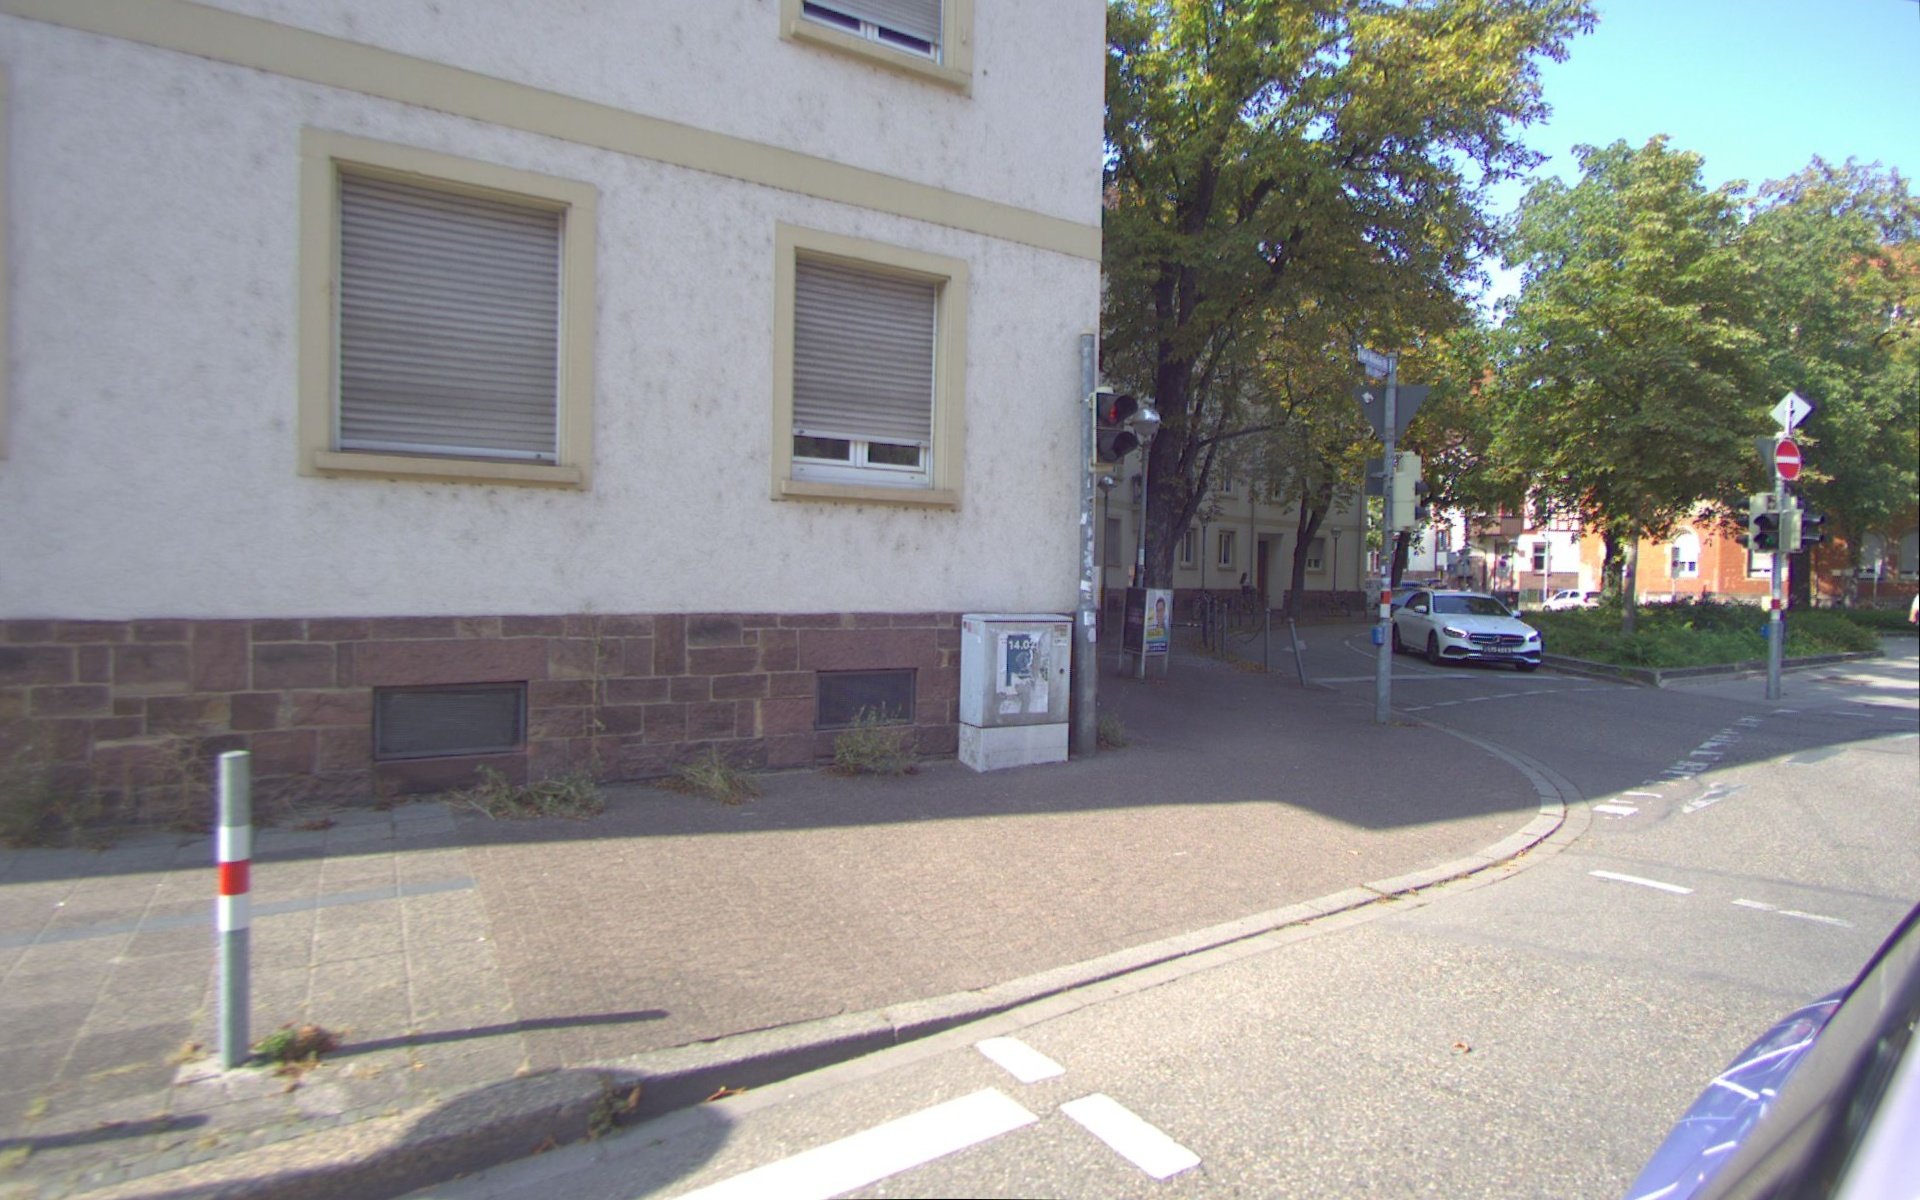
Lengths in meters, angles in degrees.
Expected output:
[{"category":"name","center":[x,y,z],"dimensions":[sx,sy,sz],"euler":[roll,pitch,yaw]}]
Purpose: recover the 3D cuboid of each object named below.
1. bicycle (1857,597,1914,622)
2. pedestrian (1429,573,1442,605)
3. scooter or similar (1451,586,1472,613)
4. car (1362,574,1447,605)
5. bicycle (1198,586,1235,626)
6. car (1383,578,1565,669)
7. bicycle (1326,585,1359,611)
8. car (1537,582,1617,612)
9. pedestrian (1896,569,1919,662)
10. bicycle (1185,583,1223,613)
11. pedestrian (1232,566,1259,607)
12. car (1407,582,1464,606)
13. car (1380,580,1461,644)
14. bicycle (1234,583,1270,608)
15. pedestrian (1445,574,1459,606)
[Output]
[{"category":"bicycle","center":[41.386,0.421,45.274],"dimensions":[1.810,1.072,0.606],"euler":[0,-2,11]},{"category":"pedestrian","center":[27.101,-0.624,57.694],"dimensions":[0.583,1.786,0.603],"euler":[1,1,19]},{"category":"scooter or similar","center":[22.351,-0.038,45.107],"dimensions":[0.434,1.172,1.112],"euler":[1,1,4]},{"category":"car","center":[24.859,-0.602,56.647],"dimensions":[4.108,1.658,1.666],"euler":[1,1,-10]},{"category":"bicycle","center":[7.147,0.174,28.169],"dimensions":[0.603,1.072,1.822],"euler":[1,-1,27]},{"category":"car","center":[10.348,0.375,20.820],"dimensions":[1.846,1.487,4.941],"euler":[4,2,10]},{"category":"bicycle","center":[16.127,-0.083,42.684],"dimensions":[1.458,1.073,0.418],"euler":[0,2,-27]},{"category":"car","center":[34.836,-0.187,57.221],"dimensions":[1.588,1.586,4.007],"euler":[1,1,-9]},{"category":"pedestrian","center":[18.794,0.318,19.276],"dimensions":[0.950,1.745,1.082],"euler":[0,4,-31]},{"category":"bicycle","center":[8.562,-0.069,35.519],"dimensions":[0.532,1.019,1.883],"euler":[2,1,38]},{"category":"pedestrian","center":[11.725,-0.560,41.549],"dimensions":[0.851,1.692,0.687],"euler":[0,1,-43]},{"category":"car","center":[32.803,-0.446,69.920],"dimensions":[1.588,1.586,4.007],"euler":[1,1,-9]},{"category":"car","center":[12.103,0.270,26.647],"dimensions":[1.733,1.469,3.857],"euler":[3,2,24]},{"category":"bicycle","center":[12.000,-0.184,41.501],"dimensions":[1.877,1.019,0.533],"euler":[0,1,-44]},{"category":"pedestrian","center":[27.558,-0.574,56.697],"dimensions":[0.647,1.786,0.603],"euler":[1,1,21]}]
